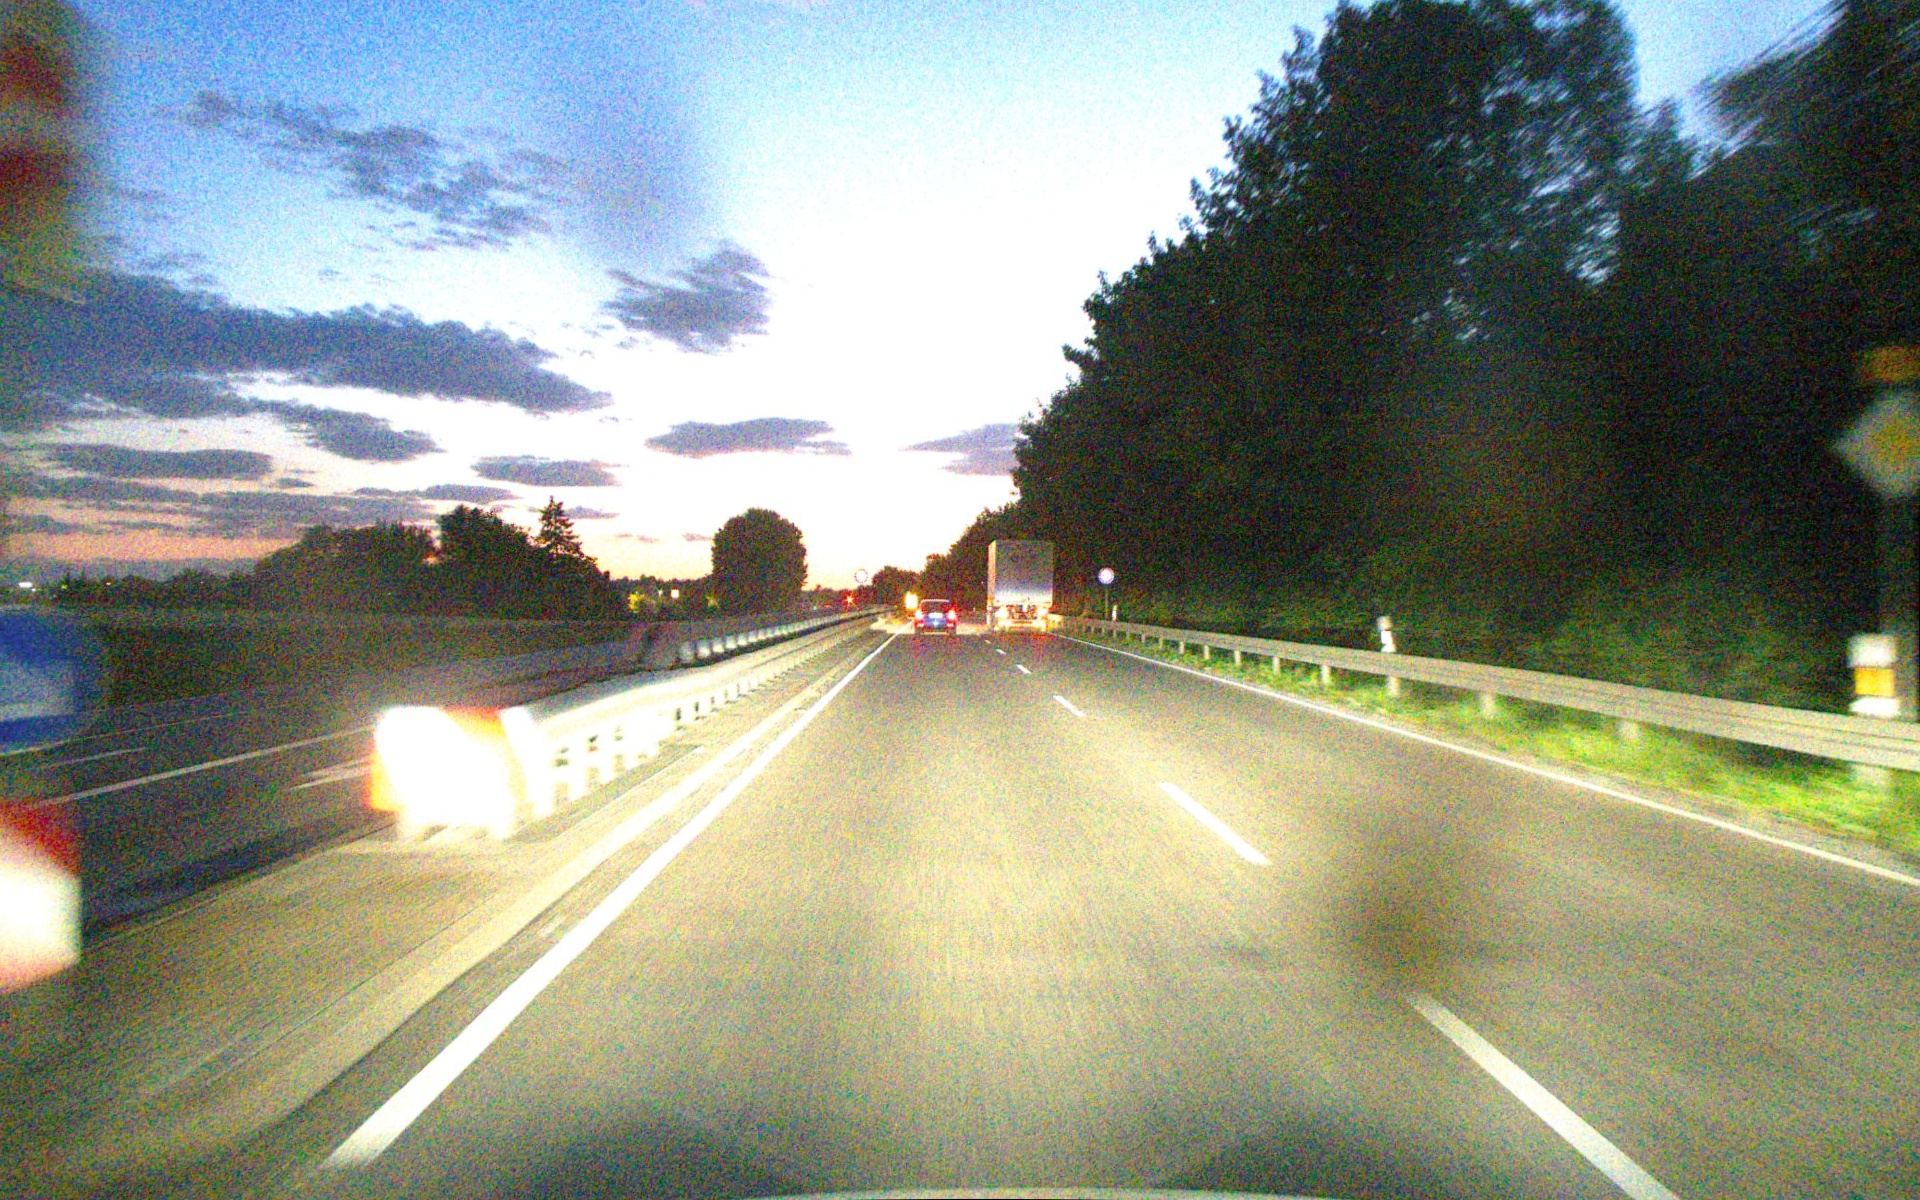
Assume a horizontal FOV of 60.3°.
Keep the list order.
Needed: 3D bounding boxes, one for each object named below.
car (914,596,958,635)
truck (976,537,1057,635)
[{"bbox_3d":[-1.008,0.608,67.041,1.661,1.478,3.912,0,0,-2],"label":"car"},{"bbox_3d":[2.478,-0.634,76.910,2.825,4.178,12.678,0,0,-2],"label":"truck"}]
